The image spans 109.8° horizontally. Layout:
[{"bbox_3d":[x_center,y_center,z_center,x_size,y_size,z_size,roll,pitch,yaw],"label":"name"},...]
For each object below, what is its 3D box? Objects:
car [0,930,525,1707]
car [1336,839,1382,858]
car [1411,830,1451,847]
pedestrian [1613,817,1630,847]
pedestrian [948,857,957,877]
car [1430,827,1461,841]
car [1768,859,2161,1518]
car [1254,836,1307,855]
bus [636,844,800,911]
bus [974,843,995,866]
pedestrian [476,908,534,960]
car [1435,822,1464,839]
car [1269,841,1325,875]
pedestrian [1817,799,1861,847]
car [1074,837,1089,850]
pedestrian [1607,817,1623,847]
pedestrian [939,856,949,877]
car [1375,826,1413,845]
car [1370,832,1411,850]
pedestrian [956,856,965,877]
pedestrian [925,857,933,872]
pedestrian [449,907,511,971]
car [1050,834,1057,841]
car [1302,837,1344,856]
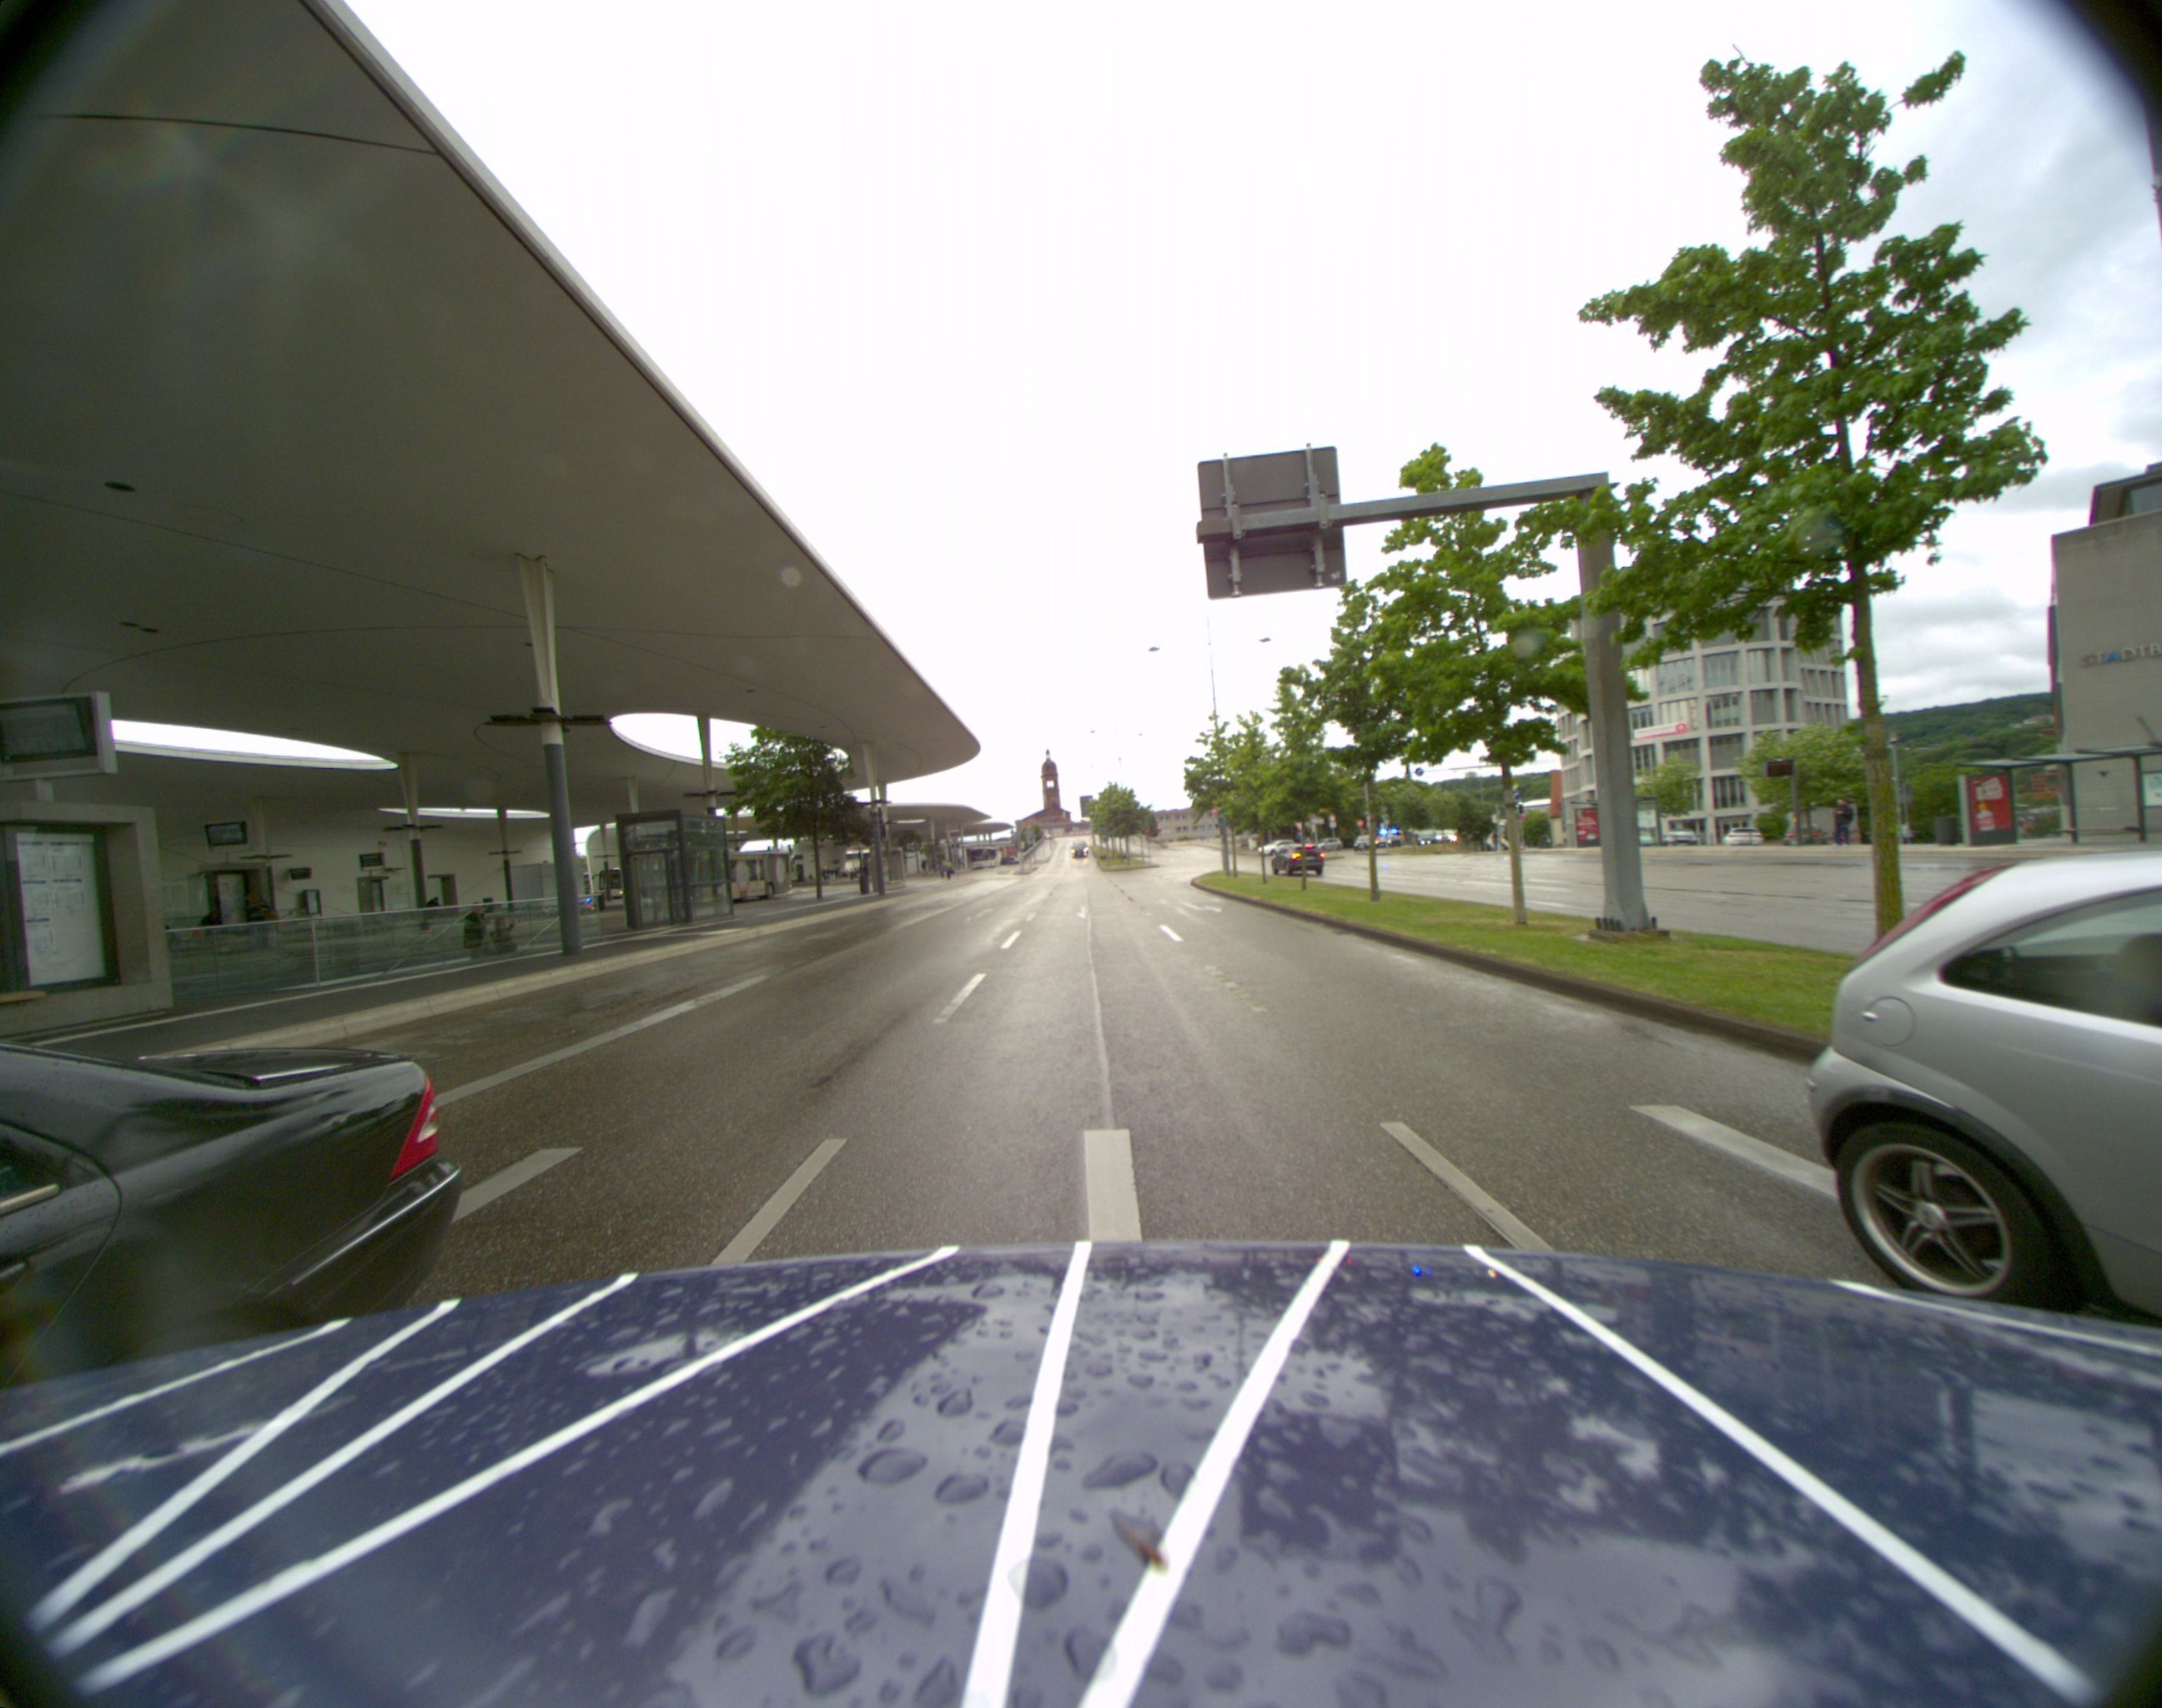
[{"bbox_3d":[-2.869,1.170,0.343,1.750,1.472,4.433,-8,2,1],"label":"car"},{"bbox_3d":[27.499,-0.550,75.079,4.925,1.702,2.190,-3,1,-43],"label":"car"},{"bbox_3d":[39.039,-1.717,84.684,4.925,1.702,2.190,-3,1,-43],"label":"car"},{"bbox_3d":[30.049,-1.239,42.235,0.520,1.625,0.536,-2,1,1],"label":"pedestrian"},{"bbox_3d":[-10.306,1.047,61.055,0.557,1.614,0.552,-3,1,1],"label":"pedestrian"},{"bbox_3d":[49.046,-2.679,102.121,4.925,1.702,2.190,-3,1,-45],"label":"car"},{"bbox_3d":[3.290,0.782,0.839,1.627,1.450,3.735,-3,0,0],"label":"car"},{"bbox_3d":[20.972,-0.932,79.803,4.921,1.702,2.192,-3,1,-21],"label":"car"},{"bbox_3d":[-19.713,1.090,42.648,3.003,3.088,12.354,-3,0,1],"label":"bus"},{"bbox_3d":[-14.313,0.068,113.251,2.675,3.111,9.712,-3,0,-5],"label":"bus"},{"bbox_3d":[-11.656,1.615,15.390,0.622,0.957,0.638,-3,1,1],"label":"pedestrian"},{"bbox_3d":[45.299,-2.910,93.377,1.995,2.002,4.007,-2,1,44],"label":"car"},{"bbox_3d":[11.573,0.180,40.997,1.826,1.630,4.600,-3,0,3],"label":"car"},{"bbox_3d":[28.974,-1.187,29.035,0.787,1.750,0.972,-3,1,-28],"label":"pedestrian"},{"bbox_3d":[0.067,-1.370,101.392,1.704,1.656,3.998,-3,1,-2],"label":"car"},{"bbox_3d":[29.500,-1.212,42.001,0.504,1.625,0.502,-2,1,1],"label":"pedestrian"},{"bbox_3d":[-10.997,1.020,60.969,0.576,1.614,0.588,-3,1,1],"label":"pedestrian"},{"bbox_3d":[37.241,-2.206,90.339,5.043,2.002,2.304,-3,1,-43],"label":"car"},{"bbox_3d":[33.464,-1.417,82.113,4.925,1.702,2.190,-3,1,-43],"label":"car"},{"bbox_3d":[-9.683,1.018,61.185,0.557,1.614,0.552,-3,1,1],"label":"pedestrian"},{"bbox_3d":[-17.759,1.231,88.643,0.723,1.621,0.753,-3,1,0],"label":"pedestrian"},{"bbox_3d":[-12.608,1.773,15.960,0.693,1.244,0.669,-3,1,1],"label":"pedestrian"},{"bbox_3d":[-6.667,-4.091,185.011,1.704,1.656,3.998,-3,1,-2],"label":"car"},{"bbox_3d":[26.158,-0.816,82.005,4.005,1.783,1.996,-3,1,-26],"label":"car"}]
